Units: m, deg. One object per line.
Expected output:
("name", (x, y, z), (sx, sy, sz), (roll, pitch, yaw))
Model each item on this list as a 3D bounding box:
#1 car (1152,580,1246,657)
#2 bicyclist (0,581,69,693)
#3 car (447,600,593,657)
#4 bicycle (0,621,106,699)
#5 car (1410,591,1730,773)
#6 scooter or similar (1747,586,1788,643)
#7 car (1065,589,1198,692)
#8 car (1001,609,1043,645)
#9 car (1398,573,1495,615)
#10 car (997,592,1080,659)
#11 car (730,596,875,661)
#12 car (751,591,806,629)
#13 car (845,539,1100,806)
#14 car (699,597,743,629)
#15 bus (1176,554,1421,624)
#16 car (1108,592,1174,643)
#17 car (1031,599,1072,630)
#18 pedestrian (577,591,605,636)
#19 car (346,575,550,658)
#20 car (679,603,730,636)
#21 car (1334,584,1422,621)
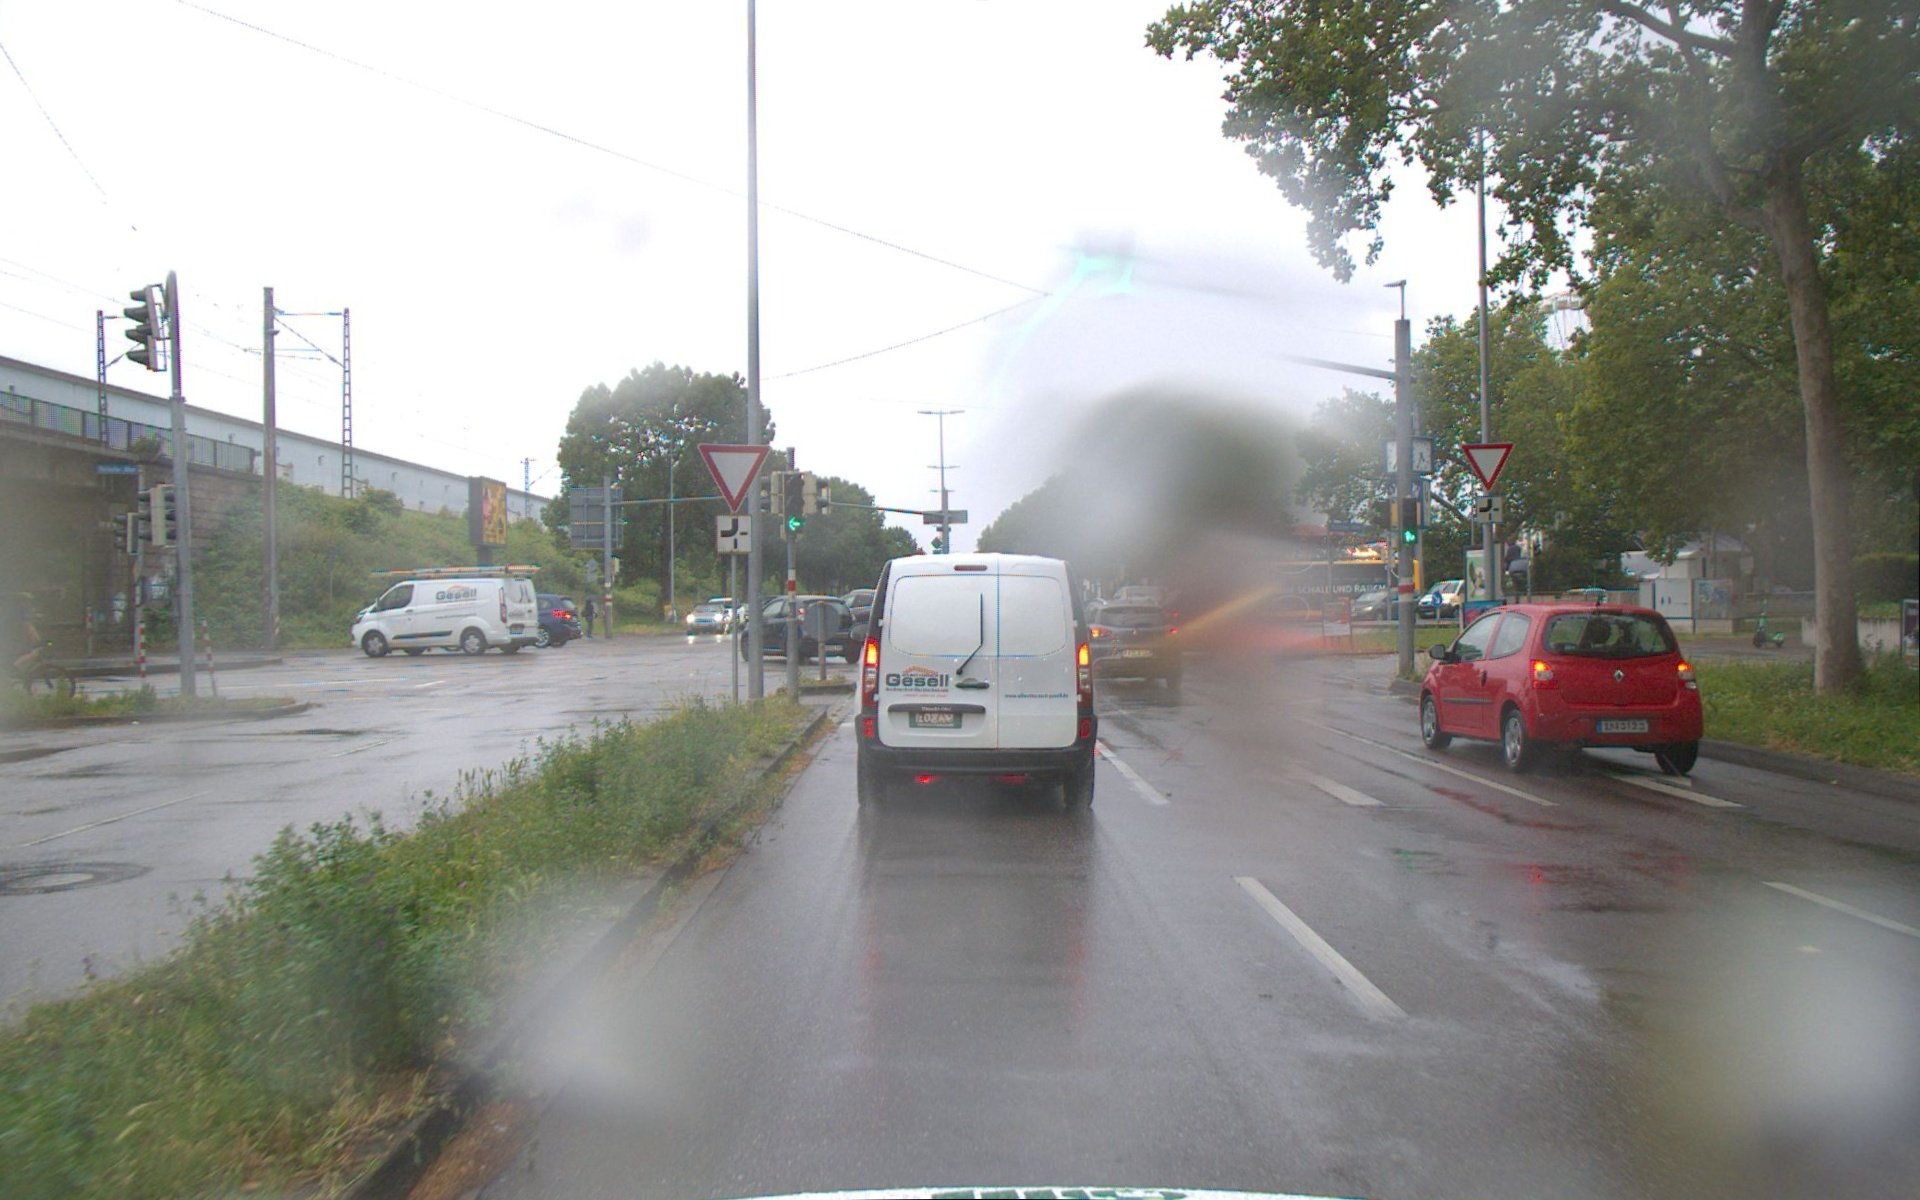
("car", (5.518, 0.404, 38.564), (1.599, 1.684, 3.484), (1, 0, -1))
("bicyclist", (-13.728, 0.539, 24.373), (1.032, 1.621, 0.797), (1, -1, -29))
("car", (-13.396, 0.854, 50.492), (3.849, 1.647, 2.001), (-1, 0, 2))
("bicycle", (-13.663, 0.878, 24.410), (1.885, 1.114, 0.688), (0, 0, -28))
("car", (5.601, 0.680, 15.654), (1.644, 1.517, 3.620), (0, 0, -1))
("scooter or similar", (17.081, 0.300, 34.961), (1.164, 1.158, 0.336), (-2, 0, -41))
("car", (2.897, 0.649, 28.659), (1.805, 1.646, 3.999), (1, 0, -1))
("car", (2.973, 1.302, 80.387), (1.952, 1.601, 4.001), (0, 1, 1))
("car", (23.070, -0.296, 78.350), (4.697, 1.881, 2.050), (-1, 0, -38))
("car", (2.076, 0.653, 44.590), (1.799, 1.684, 3.997), (1, 0, -4))
("car", (-3.505, 0.610, 36.454), (1.568, 1.329, 3.409), (-1, 1, -39))
("car", (-8.472, 0.438, 77.489), (1.980, 1.686, 4.063), (-1, 0, 2))
("car", (0.051, 0.486, 13.244), (1.720, 1.808, 3.999), (0, 0, -1))
("car", (-11.790, 0.628, 81.824), (1.791, 1.508, 3.997), (-1, 0, -4))
("bus", (17.419, -0.580, 85.638), (12.001, 3.325, 3.274), (-1, 0, -1))
("car", (6.175, 0.573, 56.733), (1.805, 1.646, 4.000), (1, 0, 0))
("car", (4.915, 0.777, 89.229), (1.953, 1.587, 3.999), (1, 0, -1))
("pedestrian", (-14.528, 0.536, 65.107), (0.983, 1.749, 0.818), (-1, 0, -9))
("car", (-13.328, 0.421, 43.149), (4.703, 1.990, 2.002), (-1, 1, 16))
("car", (-11.641, 0.887, 75.515), (1.854, 1.373, 3.998), (-1, 1, -3))
("car", (20.098, 0.101, 79.484), (4.298, 1.680, 1.907), (-1, 0, -38))
